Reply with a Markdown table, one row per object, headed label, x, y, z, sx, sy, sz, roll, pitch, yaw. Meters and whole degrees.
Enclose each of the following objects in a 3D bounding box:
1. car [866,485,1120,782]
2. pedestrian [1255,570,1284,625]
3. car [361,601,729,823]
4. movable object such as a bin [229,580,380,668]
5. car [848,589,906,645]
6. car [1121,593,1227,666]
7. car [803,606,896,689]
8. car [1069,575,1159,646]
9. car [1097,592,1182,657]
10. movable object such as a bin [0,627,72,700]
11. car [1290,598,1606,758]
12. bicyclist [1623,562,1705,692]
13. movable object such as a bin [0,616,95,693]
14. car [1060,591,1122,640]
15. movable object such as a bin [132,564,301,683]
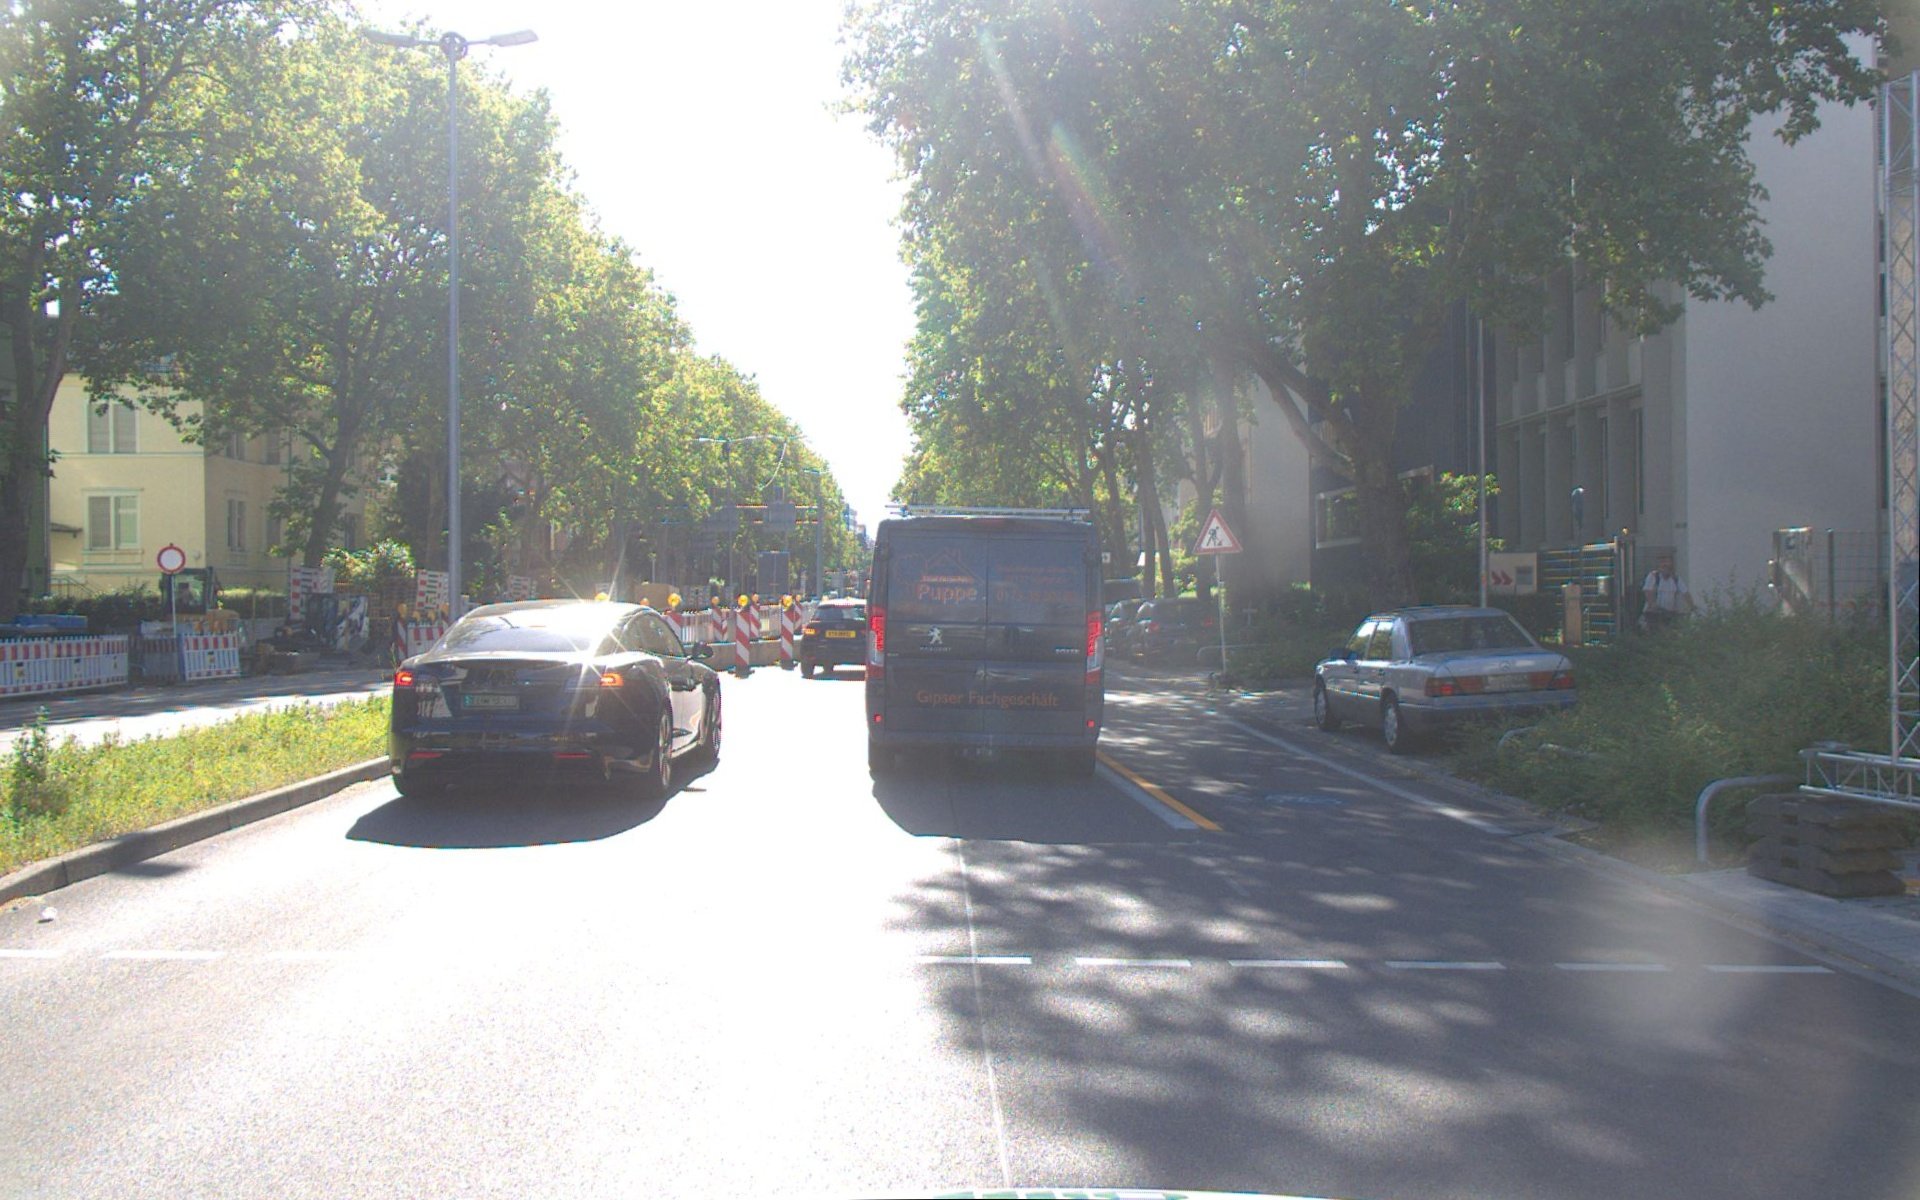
| label | x | y | z | sx | sy | sz | roll | pitch | yaw |
| --- | --- | --- | --- | --- | --- | --- | --- | --- | --- |
| car | 0.224 | 0.248 | 15.350 | 2.053 | 2.396 | 3.932 | 0 | 1 | -2 |
| pedestrian | 9.824 | -0.086 | 52.555 | 0.692 | 1.677 | 0.674 | 2 | 2 | -5 |
| car | -3.118 | 0.752 | 13.466 | 1.886 | 1.436 | 4.625 | -1 | 0 | -1 |
| movable object such as a bin | -18.581 | 0.645 | 47.198 | 1.952 | 2.318 | 5.599 | -2 | 0 | 1 |
| car | -2.255 | 0.440 | 45.118 | 1.517 | 1.450 | 3.553 | -1 | 0 | -3 |
| car | 4.793 | 0.627 | 37.545 | 1.728 | 1.534 | 4.249 | 0 | 0 | -2 |
| car | -2.159 | 0.895 | 32.685 | 1.711 | 1.432 | 3.998 | 1 | 1 | -3 |
| car | 4.505 | 0.290 | 49.219 | 1.985 | 1.980 | 5.271 | -1 | 0 | -2 |
| car | 4.569 | 0.601 | 42.530 | 1.624 | 1.567 | 4.127 | 0 | 0 | -2 |
| movable object such as a bin | -17.496 | 1.164 | 30.931 | 0.960 | 1.293 | 1.540 | 0 | 0 | -2 |
| car | 5.173 | 0.742 | 18.326 | 1.815 | 1.505 | 4.939 | 0 | 0 | -3 |
| bicyclist | 10.236 | 0.383 | 24.077 | 0.709 | 1.852 | 1.070 | 0 | 0 | -1 |
| movable object such as a bin | -18.052 | 1.049 | 32.736 | 1.611 | 1.447 | 1.252 | 0 | 0 | -27 |
| car | 4.318 | 0.499 | 54.961 | 1.712 | 1.503 | 4.101 | -1 | 0 | 0 |
| movable object such as a bin | -18.307 | 0.544 | 41.024 | 2.104 | 2.753 | 5.350 | 0 | 0 | -4 |
